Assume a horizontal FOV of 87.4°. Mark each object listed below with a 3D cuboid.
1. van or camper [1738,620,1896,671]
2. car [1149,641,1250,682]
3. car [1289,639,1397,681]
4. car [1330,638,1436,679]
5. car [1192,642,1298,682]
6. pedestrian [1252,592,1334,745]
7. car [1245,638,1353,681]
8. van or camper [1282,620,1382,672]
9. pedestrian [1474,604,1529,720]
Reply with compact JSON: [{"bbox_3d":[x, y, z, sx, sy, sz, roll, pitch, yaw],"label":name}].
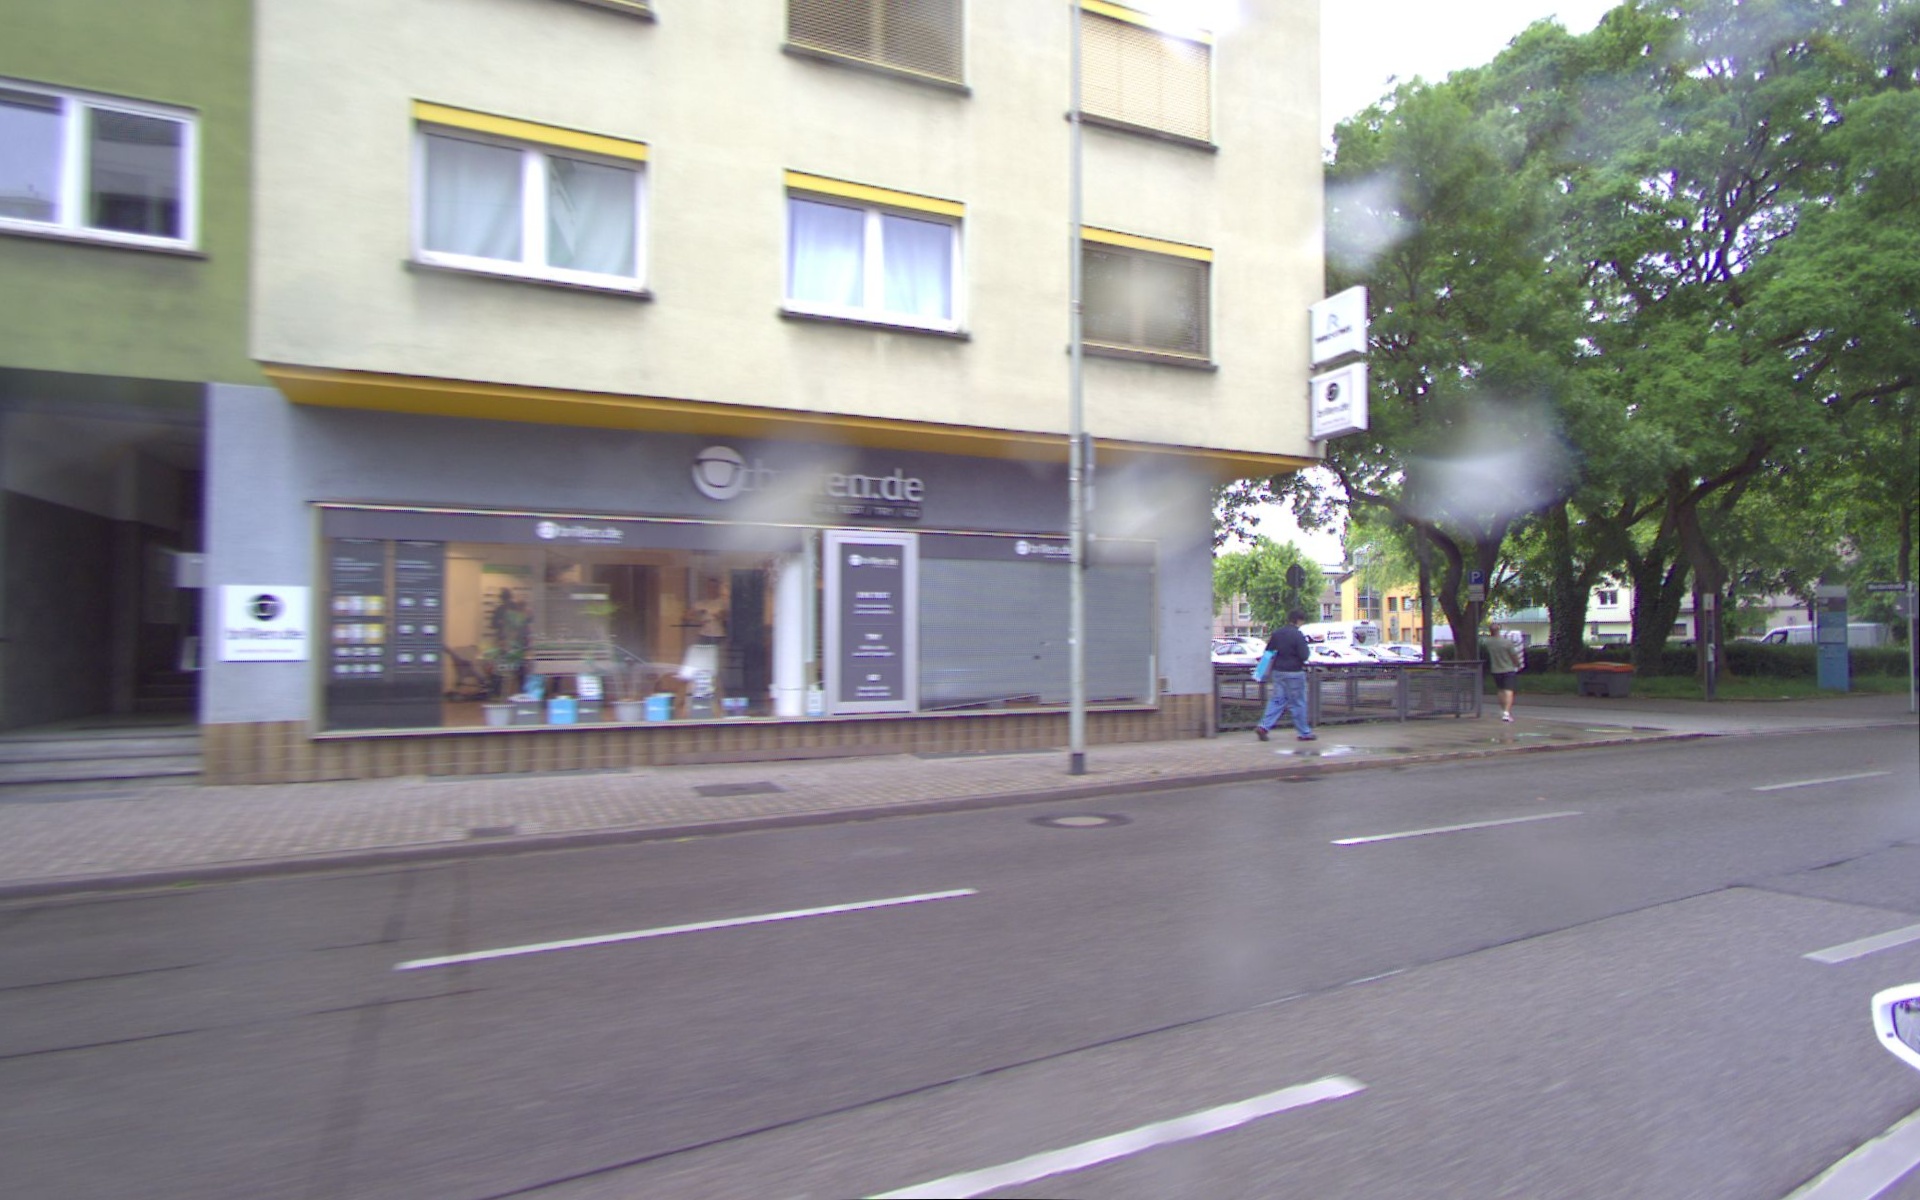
[{"bbox_3d":[35.224,1.872,41.408,1.977,1.975,4.573,1,-2,-31],"label":"van or camper"},{"bbox_3d":[9.146,2.337,38.626,1.841,1.483,3.615,1,-2,-29],"label":"car"},{"bbox_3d":[15.873,2.442,41.814,1.840,1.647,3.972,1,-2,-28],"label":"car"},{"bbox_3d":[18.220,2.479,43.384,1.840,1.647,3.972,1,-2,-28],"label":"car"},{"bbox_3d":[11.237,2.407,39.895,1.840,1.483,3.972,1,-2,-28],"label":"car"},{"bbox_3d":[4.606,0.929,13.907,0.771,2.040,0.749,1,-2,-23],"label":"pedestrian"},{"bbox_3d":[13.747,2.392,40.937,1.840,1.647,4.023,1,-2,-28],"label":"car"},{"bbox_3d":[18.141,2.234,49.189,2.073,2.463,4.311,1,-2,-28],"label":"van or camper"},{"bbox_3d":[9.411,1.063,17.459,0.805,1.950,0.918,-1,-2,30],"label":"pedestrian"}]
